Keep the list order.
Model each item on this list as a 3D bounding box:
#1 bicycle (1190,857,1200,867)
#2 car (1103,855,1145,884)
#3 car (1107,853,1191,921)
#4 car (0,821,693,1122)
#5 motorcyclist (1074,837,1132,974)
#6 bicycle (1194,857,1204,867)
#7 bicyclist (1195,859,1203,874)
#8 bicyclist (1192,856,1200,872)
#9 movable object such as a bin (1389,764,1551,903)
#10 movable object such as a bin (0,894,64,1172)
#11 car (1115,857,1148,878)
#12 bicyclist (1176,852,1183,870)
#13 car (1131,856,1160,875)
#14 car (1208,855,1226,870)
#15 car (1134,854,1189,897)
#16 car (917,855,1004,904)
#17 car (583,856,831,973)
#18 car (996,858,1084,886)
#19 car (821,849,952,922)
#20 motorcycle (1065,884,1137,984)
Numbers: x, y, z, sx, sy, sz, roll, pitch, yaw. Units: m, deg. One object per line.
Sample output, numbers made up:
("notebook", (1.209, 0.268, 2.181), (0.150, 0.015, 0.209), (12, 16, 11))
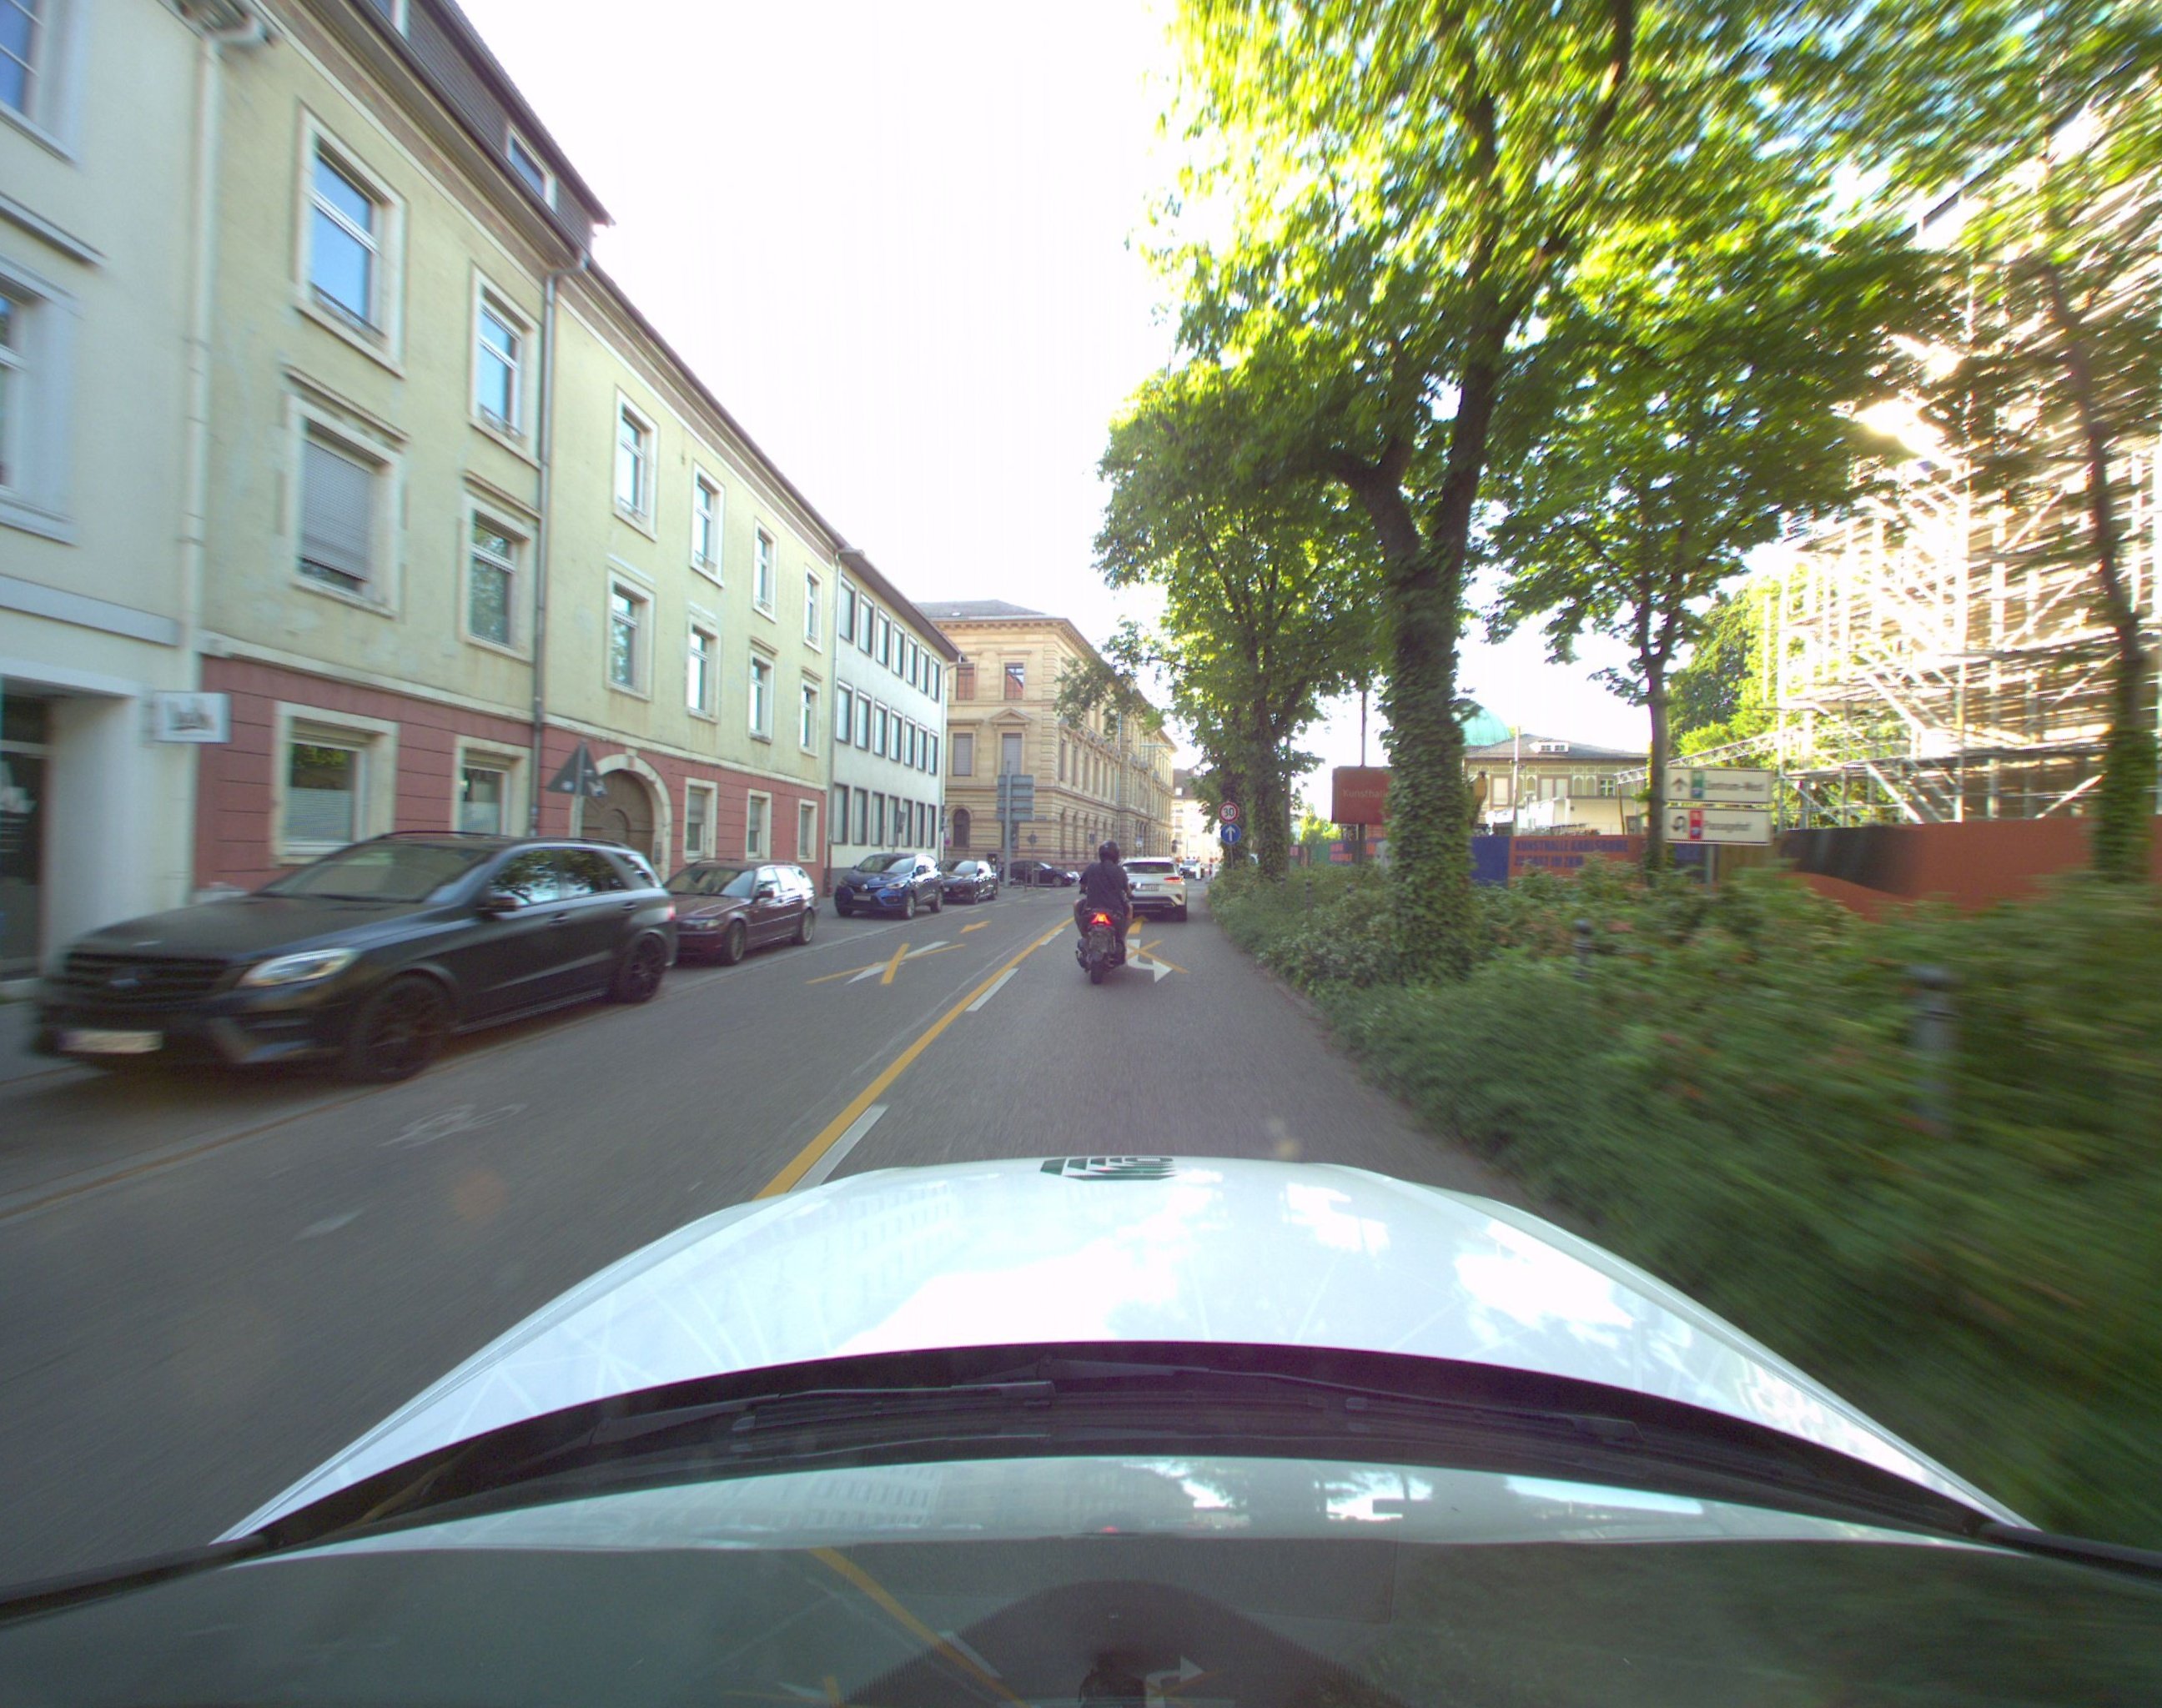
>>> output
("bicycle", (11.454, 0.778, 81.711), (0.528, 1.035, 1.916), (0, 0, 20))
("car", (2.390, 0.799, 43.786), (1.724, 1.421, 4.440), (-2, 0, 9))
("car", (1.693, 0.736, 20.164), (1.842, 1.480, 4.063), (-1, 0, 5))
("car", (-5.512, 0.658, 6.983), (1.914, 1.679, 4.787), (0, 0, 2))
("motorcyclist", (0.284, 0.633, 10.345), (0.655, 1.650, 0.651), (2, 0, 1))
("bicycle", (12.425, 0.819, 85.636), (0.528, 1.035, 2.047), (0, 0, 25))
("bicyclist", (12.433, 1.318, 85.756), (0.622, 1.554, 0.736), (0, 0, 25))
("bicyclist", (11.490, 1.019, 81.636), (0.623, 1.613, 0.874), (0, 0, 20))
("movable object such as a bin", (14.229, -0.673, 30.632), (3.288, 4.539, 7.923), (0, 0, 8))
("movable object such as a bin", (-5.715, 0.846, 3.629), (1.210, 1.295, 0.931), (1, 0, 4))
("car", (3.823, 0.977, 60.964), (1.981, 1.567, 4.300), (0, 0, 10))
("bicyclist", (9.305, 0.689, 77.221), (0.562, 1.667, 0.837), (0, 0, 12))
("car", (5.349, 0.945, 66.976), (1.981, 1.528, 4.195), (0, 0, 10))
("car", (15.404, 0.964, 92.014), (1.981, 1.695, 4.411), (0, 0, 10))
("car", (3.169, 0.784, 31.465), (1.829, 1.463, 4.067), (2, 0, 9))
("car", (-4.076, 0.818, 28.294), (1.815, 1.503, 4.767), (2, 0, 6))
("car", (-5.482, 0.782, 12.665), (1.647, 1.480, 4.430), (0, 0, 2))
("car", (-2.159, 0.937, 43.130), (4.282, 1.390, 1.783), (0, 0, 15))
("car", (-4.879, 0.734, 21.132), (1.924, 1.667, 4.354), (0, 0, 6))
("motorcycle", (0.266, 0.956, 10.294), (0.793, 1.066, 1.726), (2, 0, 2))
